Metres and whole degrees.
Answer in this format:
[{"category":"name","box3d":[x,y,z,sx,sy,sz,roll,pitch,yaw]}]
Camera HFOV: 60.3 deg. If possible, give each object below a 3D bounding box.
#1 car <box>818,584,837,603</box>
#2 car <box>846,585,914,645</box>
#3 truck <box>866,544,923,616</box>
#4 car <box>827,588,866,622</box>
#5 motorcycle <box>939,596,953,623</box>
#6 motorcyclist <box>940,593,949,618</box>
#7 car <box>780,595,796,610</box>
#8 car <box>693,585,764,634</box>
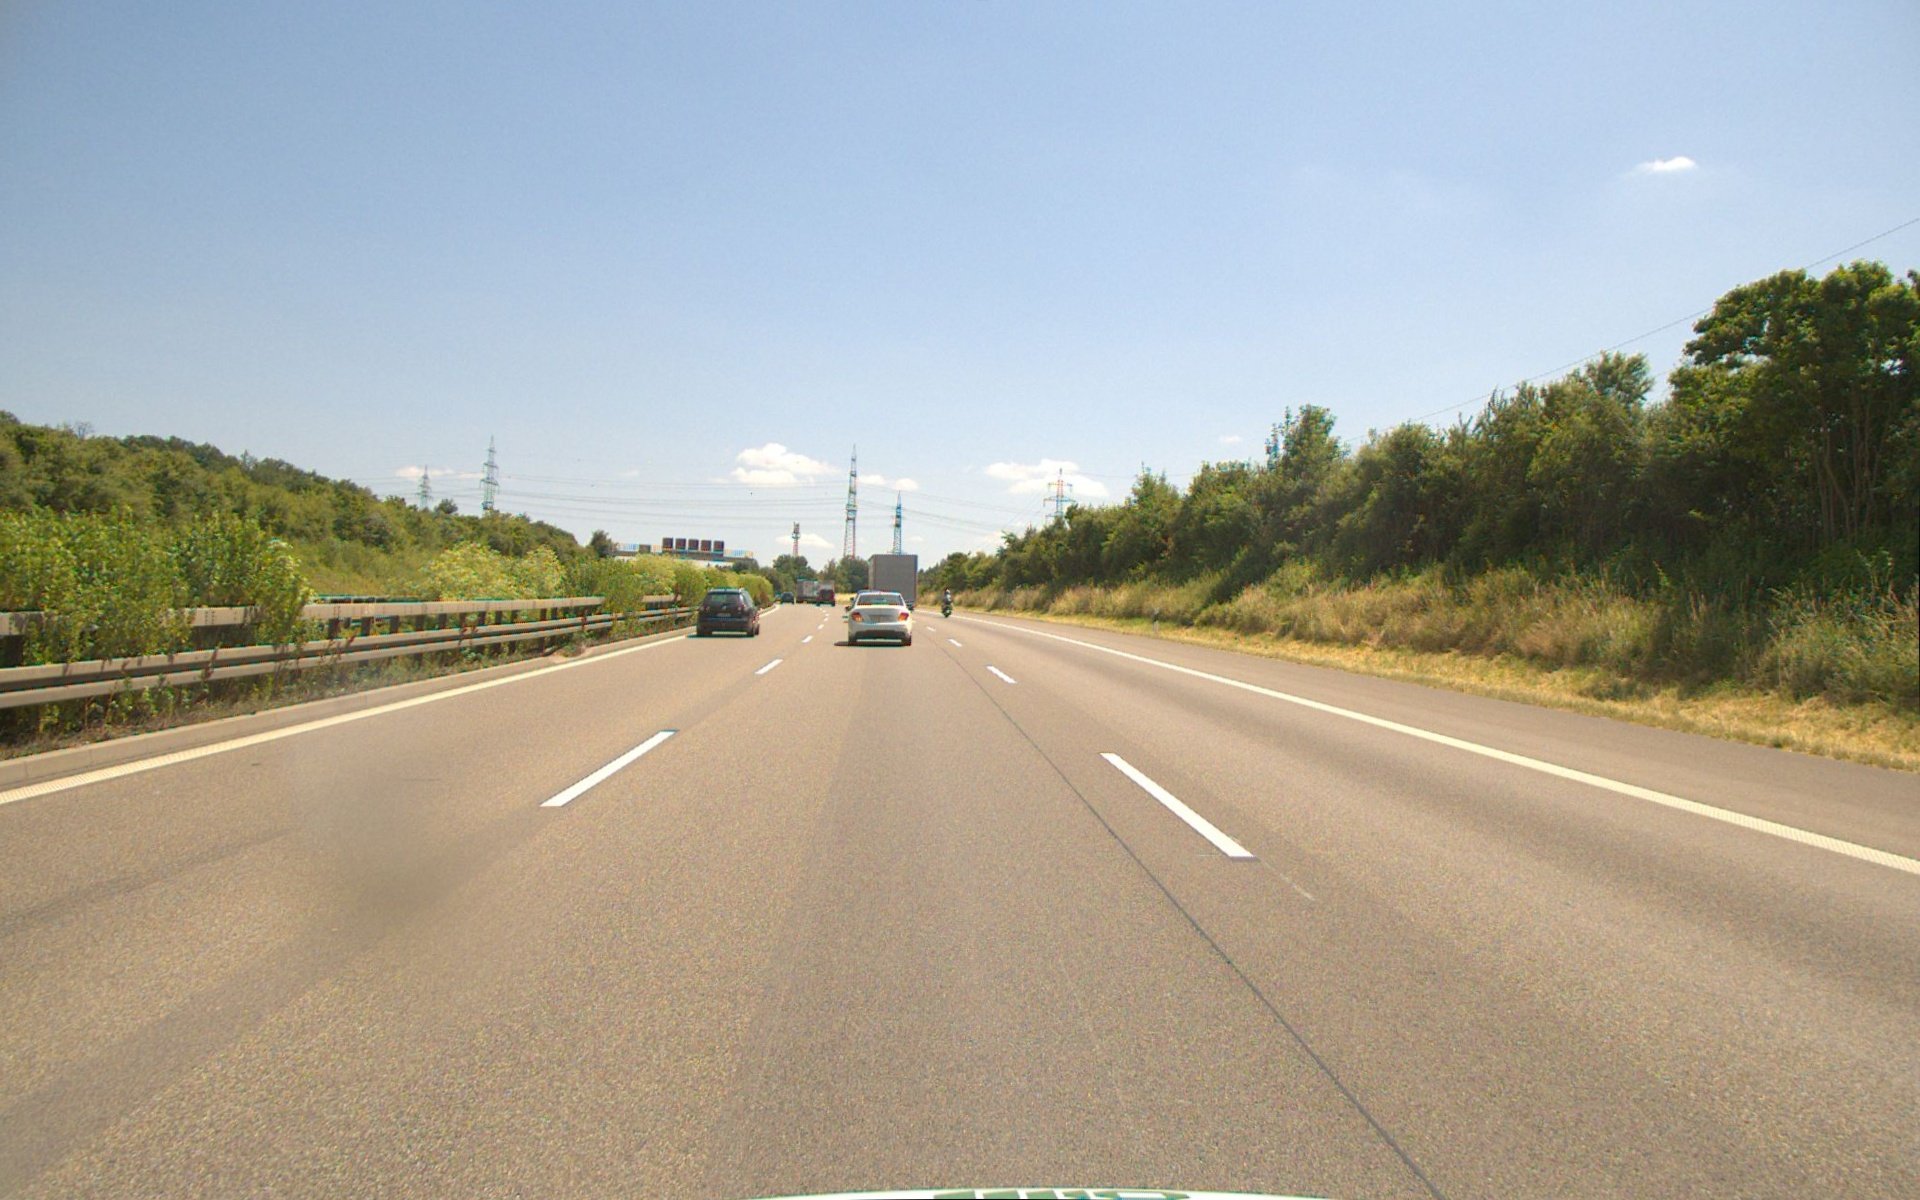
[{"category":"car","box3d":[-13.993,-0.672,174.778,1.864,1.959,3.997,0,1,-4]},{"category":"car","box3d":[-2.243,0.377,45.828,1.783,1.567,3.912,0,1,-4]},{"category":"truck","box3d":[-3.922,-1.122,97.218,3.157,3.993,9.054,1,0,-4]},{"category":"car","box3d":[-5.377,0.203,78.782,1.802,1.567,3.912,0,1,-3]},{"category":"motorcycle","box3d":[-0.882,0.585,101.119,0.793,1.635,1.781,1,0,-2]},{"category":"motorcyclist","box3d":[-0.943,0.320,101.082,0.560,1.505,0.700,0,0,-3]},{"category":"car","box3d":[-21.517,0.310,206.558,1.955,1.892,3.995,0,1,-7]},{"category":"car","box3d":[-7.210,0.271,51.758,1.721,1.454,3.999,0,1,-1]}]
